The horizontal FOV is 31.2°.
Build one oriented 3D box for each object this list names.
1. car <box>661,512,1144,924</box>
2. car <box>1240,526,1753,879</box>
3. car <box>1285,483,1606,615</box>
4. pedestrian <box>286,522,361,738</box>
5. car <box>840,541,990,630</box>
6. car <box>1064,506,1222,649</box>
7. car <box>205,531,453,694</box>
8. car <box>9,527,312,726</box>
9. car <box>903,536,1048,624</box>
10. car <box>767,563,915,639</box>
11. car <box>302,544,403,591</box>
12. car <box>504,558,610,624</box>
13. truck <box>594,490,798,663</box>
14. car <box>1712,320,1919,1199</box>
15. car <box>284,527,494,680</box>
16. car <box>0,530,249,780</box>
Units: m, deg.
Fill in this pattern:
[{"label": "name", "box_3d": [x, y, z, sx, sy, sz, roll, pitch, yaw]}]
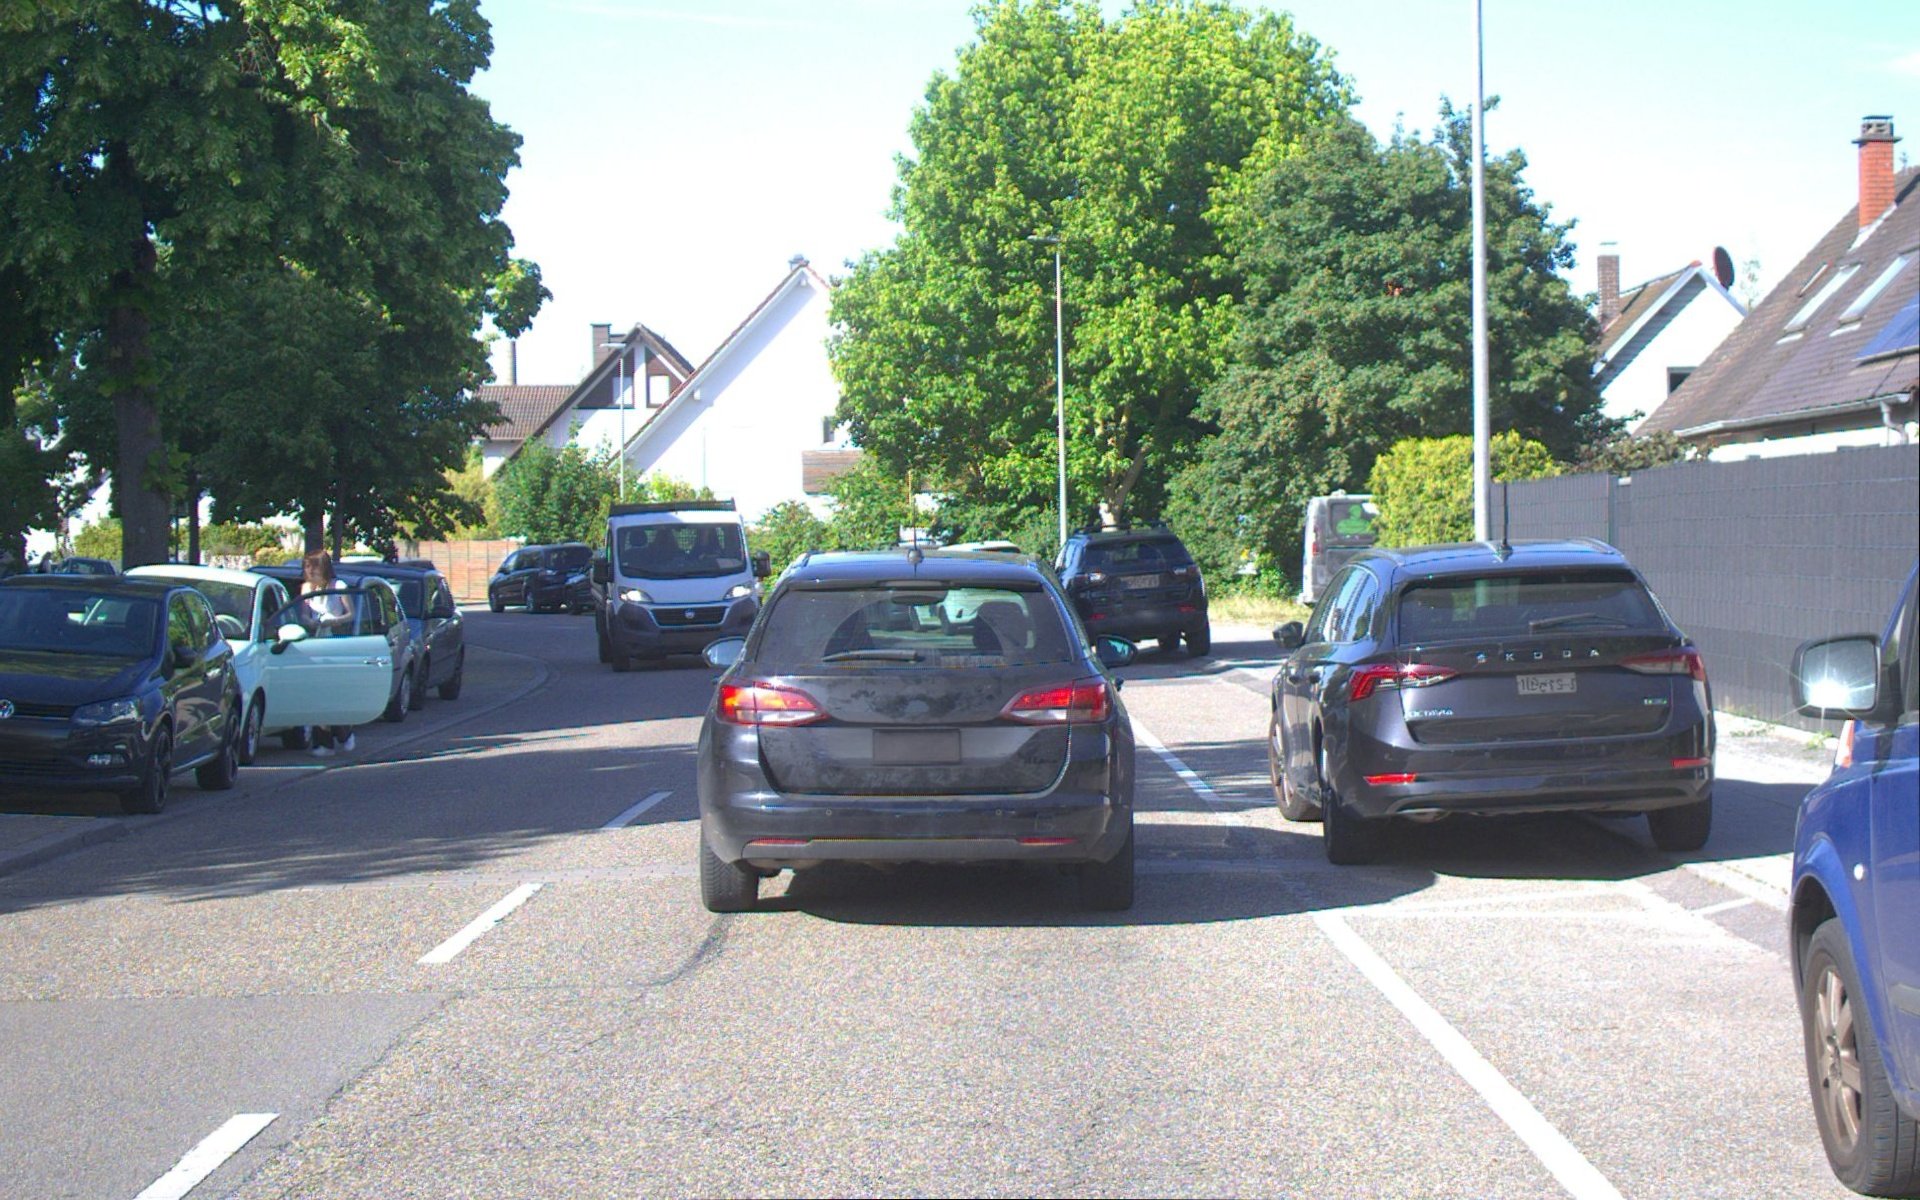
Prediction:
[{"label": "car", "box_3d": [-0.230, 0.450, 15.085, 1.761, 1.486, 4.291, 2, 0, 0]}, {"label": "car", "box_3d": [2.442, 0.393, 16.851, 1.765, 1.475, 4.991, 0, 1, 0]}, {"label": "car", "box_3d": [7.535, -0.782, 53.678, 4.680, 1.977, 2.143, 1, 0, 0]}, {"label": "pedestrian", "box_3d": [-5.257, 0.254, 28.422, 0.504, 1.755, 0.695, 1, -2, -4]}, {"label": "car", "box_3d": [-0.890, -0.264, 64.506, 1.911, 1.595, 4.295, 1, 0, -13]}, {"label": "car", "box_3d": [2.296, -0.273, 44.030, 1.778, 1.718, 4.294, 1, 0, 0]}, {"label": "car", "box_3d": [-6.342, 0.124, 34.927, 1.657, 1.505, 4.000, 2, 0, 1]}, {"label": "car", "box_3d": [-6.491, 0.241, 28.315, 1.700, 1.518, 4.052, 0, -1, -2]}, {"label": "car", "box_3d": [0.227, -0.335, 59.912, 1.760, 1.475, 4.295, 1, 0, -10]}, {"label": "car", "box_3d": [-2.454, 0.015, 69.783, 2.005, 1.470, 4.295, 1, 0, -16]}, {"label": "car", "box_3d": [-18.994, -0.996, 107.387, 1.916, 1.402, 4.295, 1, 0, -27]}, {"label": "car", "box_3d": [-10.474, -0.232, 89.179, 1.902, 1.660, 4.192, 1, 0, -18]}, {"label": "truck", "box_3d": [-3.705, -0.326, 49.434, 2.130, 2.326, 6.442, 0, 0, 3]}, {"label": "car", "box_3d": [2.835, 0.414, 6.347, 1.836, 1.901, 4.698, 2, 0, 0]}, {"label": "car", "box_3d": [-6.449, 0.018, 39.211, 1.568, 1.525, 3.918, 5, 1, 1]}, {"label": "car", "box_3d": [-5.921, 0.352, 22.849, 1.700, 1.475, 4.052, 3, -1, -3]}]
